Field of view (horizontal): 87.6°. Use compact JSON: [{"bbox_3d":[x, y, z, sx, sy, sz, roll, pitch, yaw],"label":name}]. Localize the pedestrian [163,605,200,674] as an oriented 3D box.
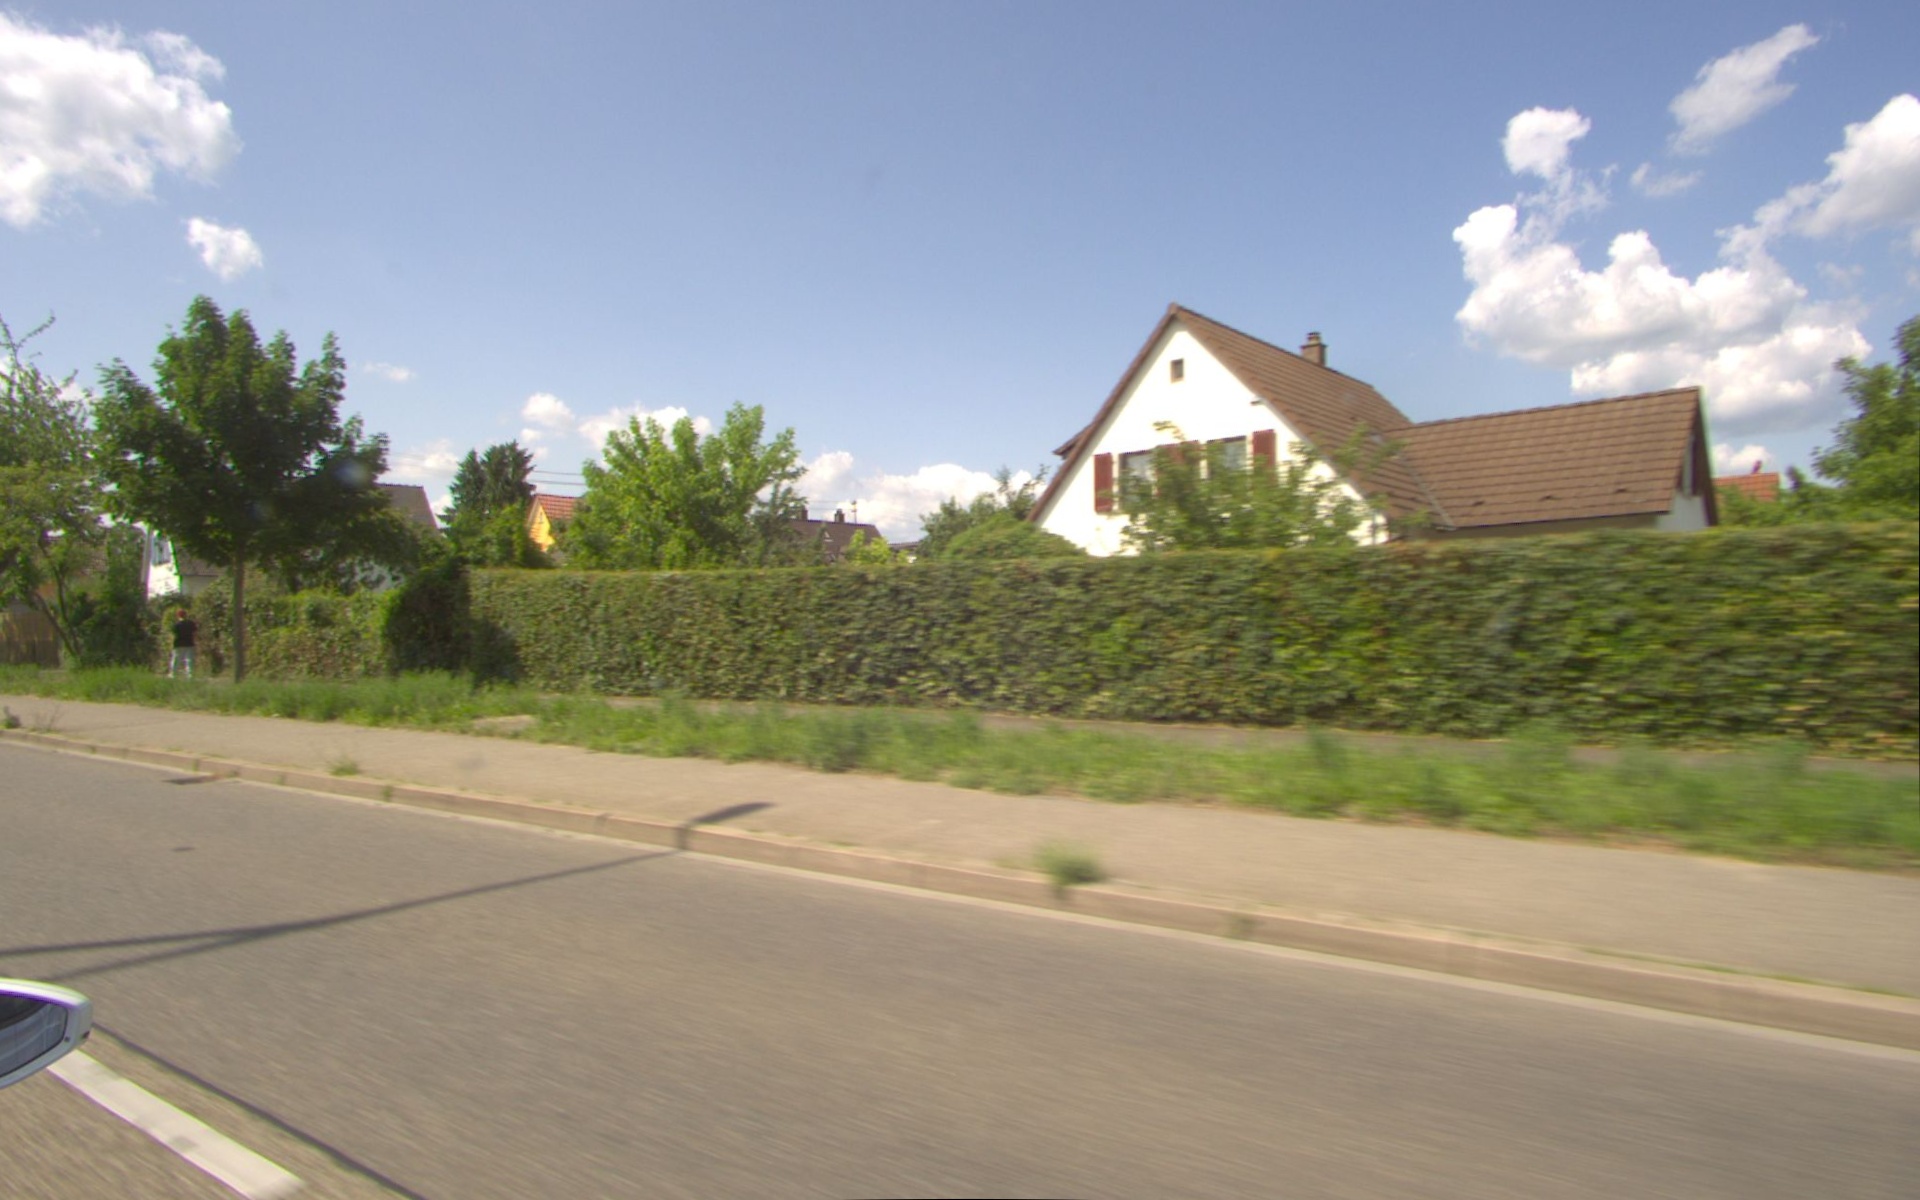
[{"bbox_3d":[-19.489,0.992,25.068,0.625,1.698,0.559,0,0,32],"label":"pedestrian"}]
